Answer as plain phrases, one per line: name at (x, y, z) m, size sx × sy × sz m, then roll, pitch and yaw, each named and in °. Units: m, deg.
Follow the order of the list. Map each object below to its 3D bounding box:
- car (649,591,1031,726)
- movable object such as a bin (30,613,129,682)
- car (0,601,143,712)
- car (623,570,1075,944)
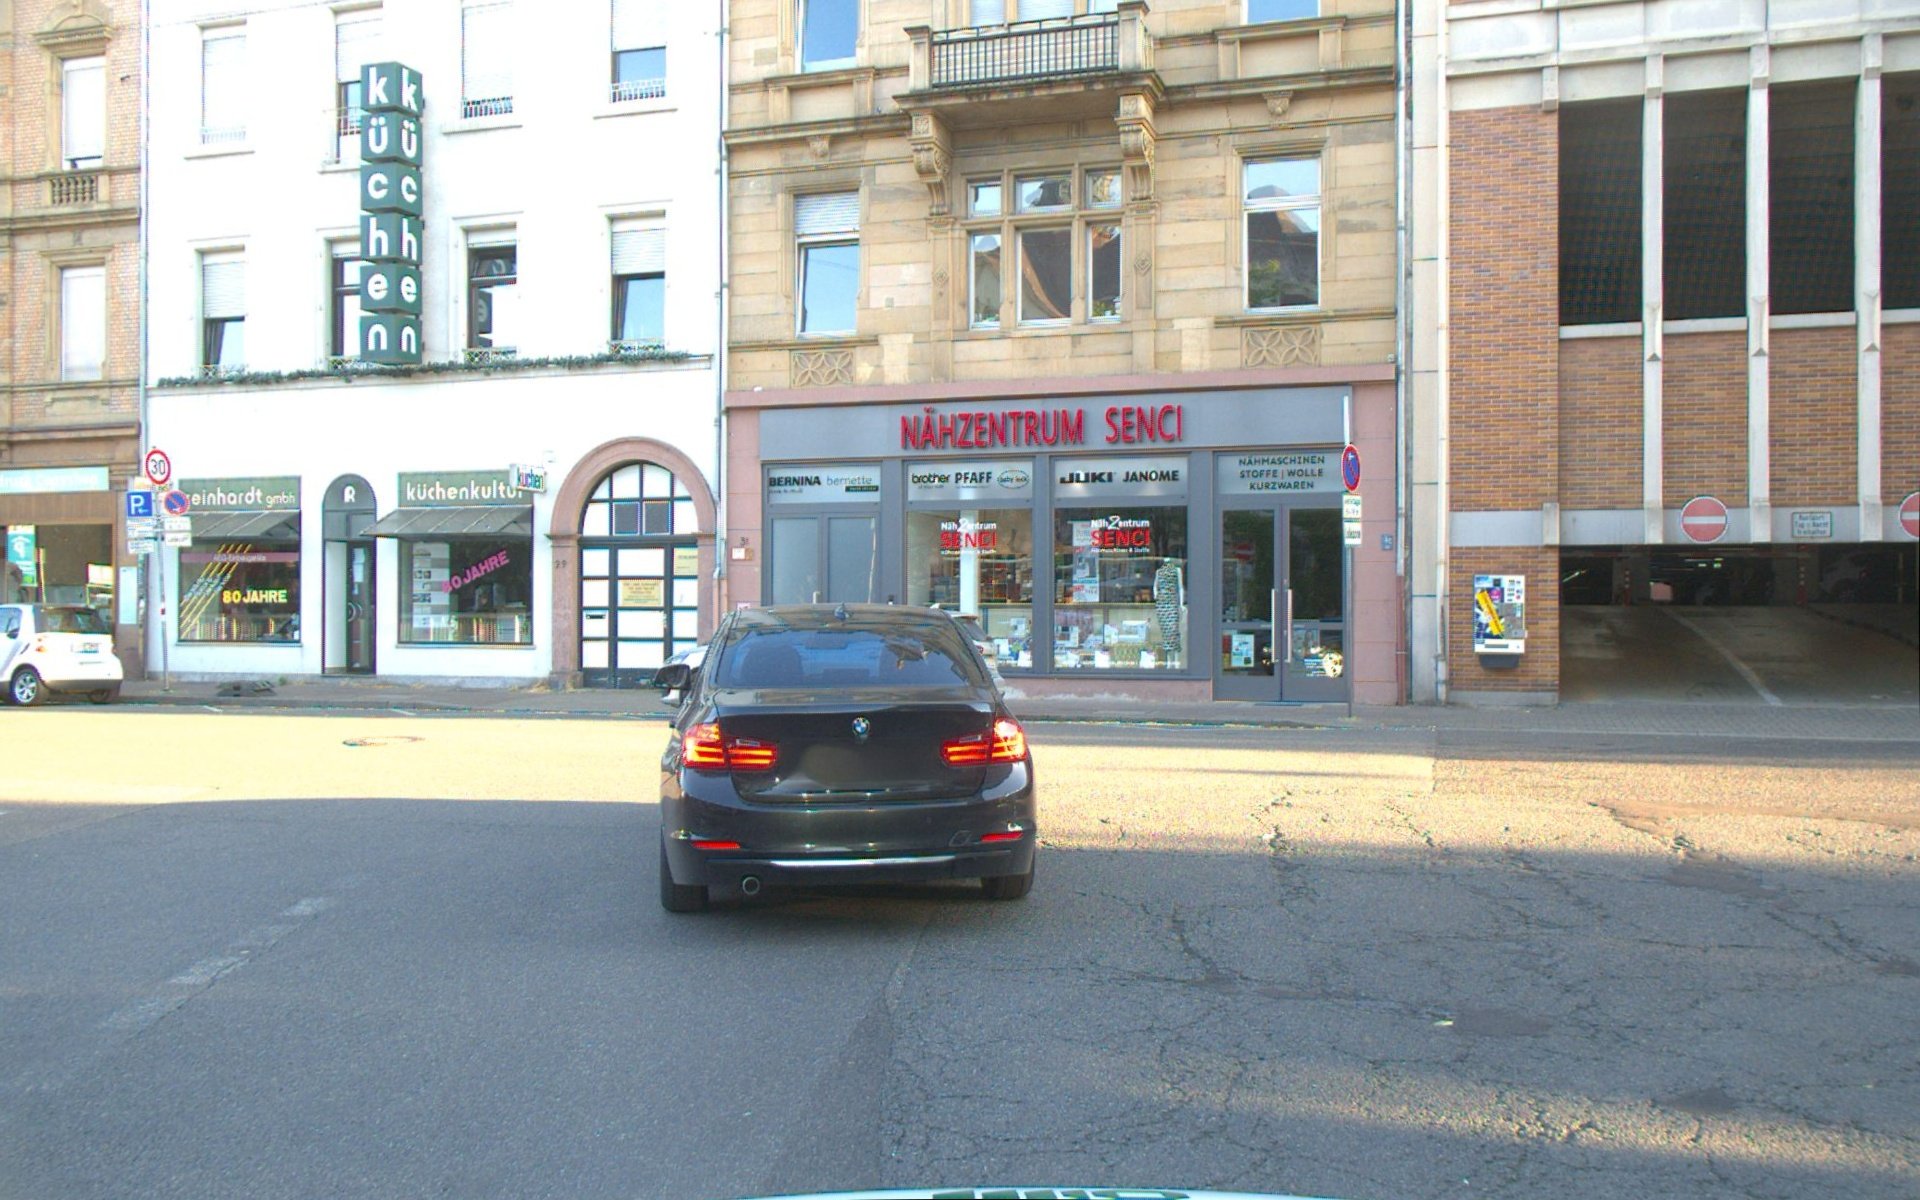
car at (-1.538, 0.714, 21.678) m, size 4.568 × 1.562 × 2.001 m, roll 1°, pitch 0°, yaw 17°
movable object such as a bin at (-15.808, 0.844, 29.696) m, size 1.364 × 1.207 × 0.869 m, roll 0°, pitch -1°, yaw 18°
car at (-15.172, 0.835, 26.226) m, size 3.903 × 1.612 × 1.706 m, roll 1°, pitch 0°, yaw 19°
car at (-0.564, 0.677, 8.899) m, size 1.851 × 1.518 × 4.201 m, roll 0°, pitch -1°, yaw -3°
